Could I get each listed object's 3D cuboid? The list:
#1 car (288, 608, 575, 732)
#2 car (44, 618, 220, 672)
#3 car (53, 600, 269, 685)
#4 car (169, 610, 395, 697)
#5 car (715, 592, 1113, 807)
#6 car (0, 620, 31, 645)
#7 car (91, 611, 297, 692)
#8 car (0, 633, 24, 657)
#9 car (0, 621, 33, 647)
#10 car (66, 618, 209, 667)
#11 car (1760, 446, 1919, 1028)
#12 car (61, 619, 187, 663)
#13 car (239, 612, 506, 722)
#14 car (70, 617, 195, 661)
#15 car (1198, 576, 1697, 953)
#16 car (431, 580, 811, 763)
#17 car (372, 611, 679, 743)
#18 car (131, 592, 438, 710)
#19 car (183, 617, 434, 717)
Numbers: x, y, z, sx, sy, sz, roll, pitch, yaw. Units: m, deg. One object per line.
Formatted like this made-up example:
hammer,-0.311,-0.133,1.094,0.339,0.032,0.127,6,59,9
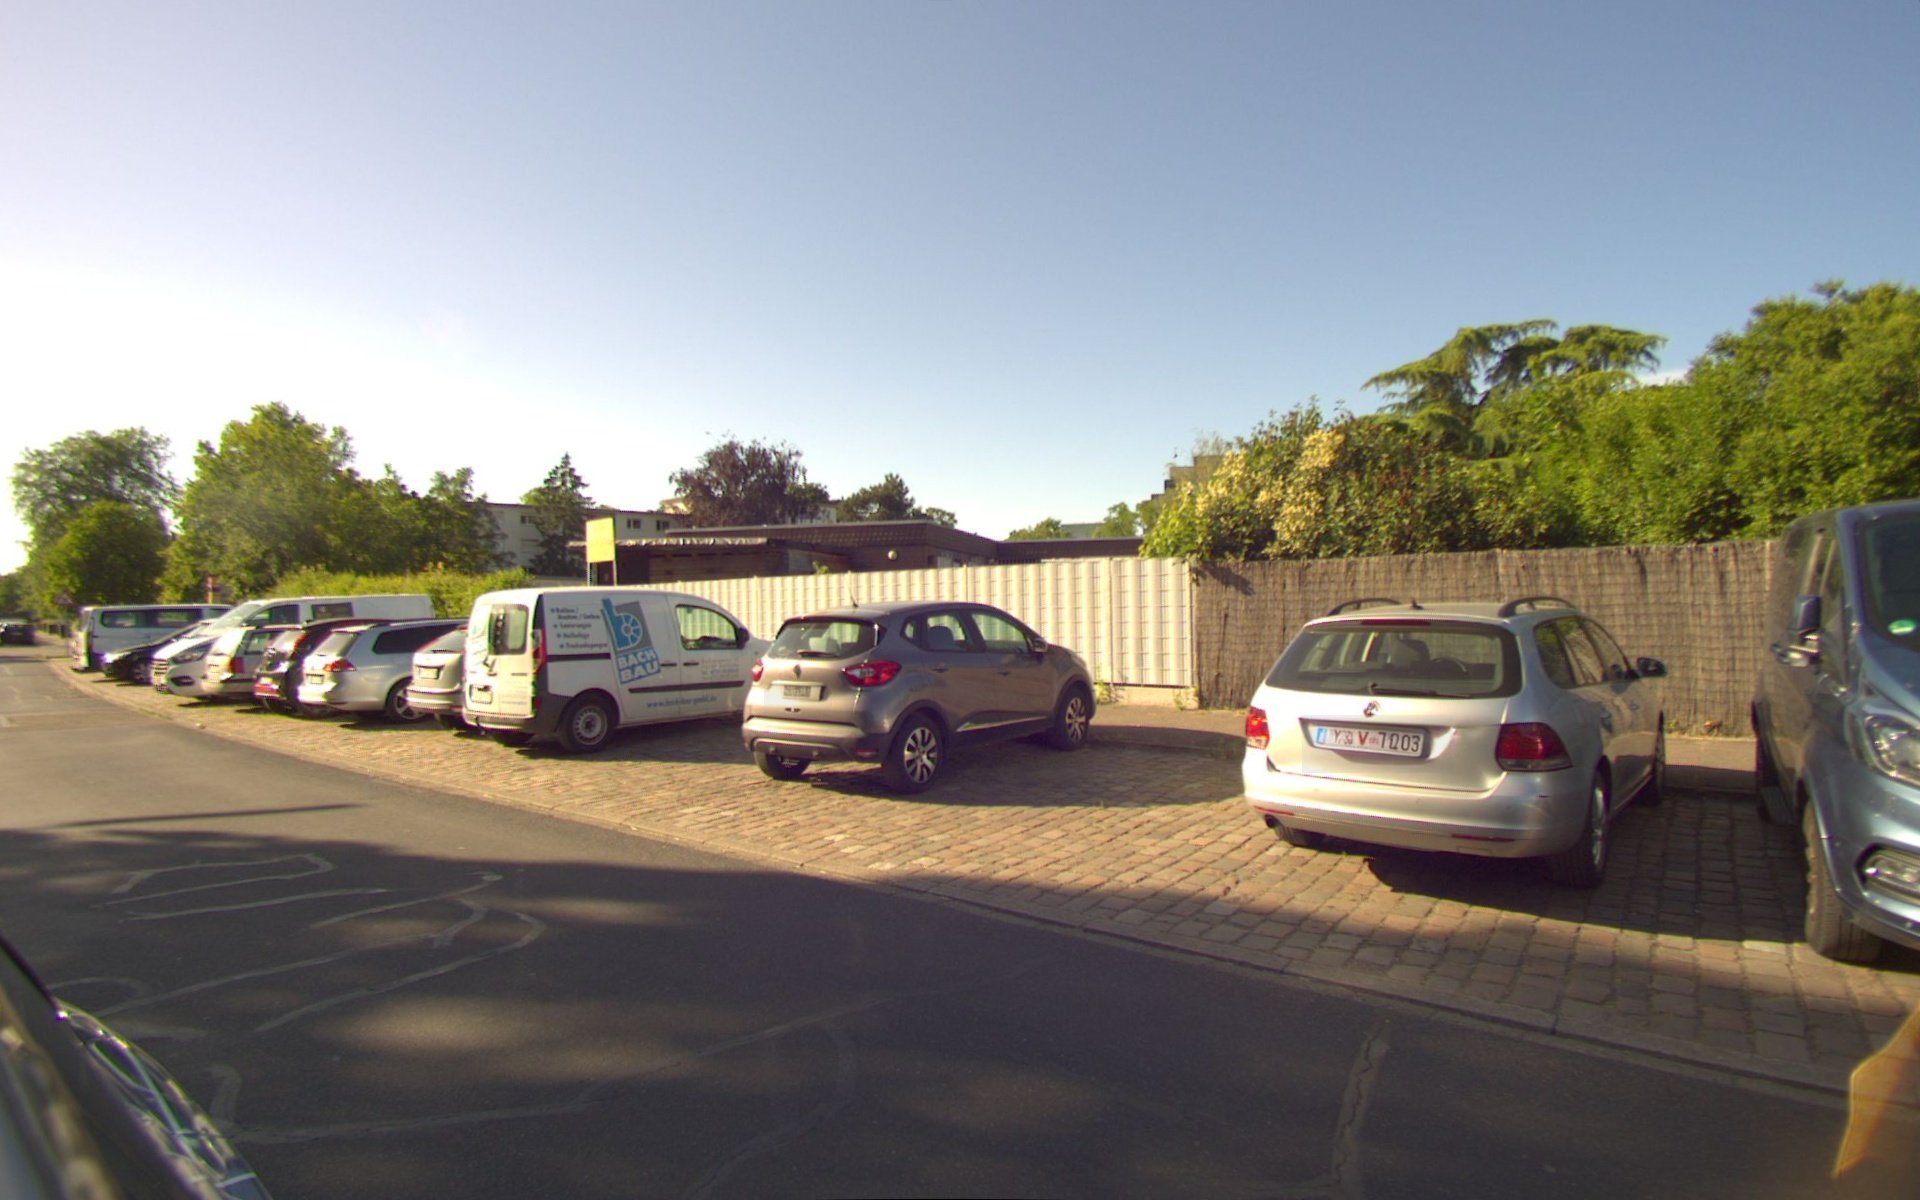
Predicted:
car,-7.941,0.975,15.391,1.637,1.500,3.475,-3,1,44
car,-28.177,1.491,34.538,4.492,1.490,1.749,-4,1,-44
car,-22.118,1.096,28.136,2.001,1.991,4.429,-1,2,44
car,-15.318,1.131,22.982,3.942,1.594,1.885,-4,2,-45
car,-0.237,0.735,9.536,1.785,1.544,3.780,-1,0,36
car,-78.402,2.712,83.978,1.882,1.956,4.515,3,-3,-43
car,-19.782,1.257,26.293,4.098,1.718,1.887,-3,2,-38
car,-69.289,3.273,73.554,1.792,1.695,3.651,3,-3,-44
car,-62.209,2.266,66.490,1.759,1.586,4.427,-2,0,-44
car,-30.551,1.555,37.644,3.941,1.490,1.792,-3,1,-44
car,5.212,0.408,4.830,1.996,1.930,4.827,-1,0,37
car,-35.790,1.723,43.376,1.832,1.544,3.943,-1,2,44
car,-9.735,1.052,16.950,1.635,1.500,3.479,-3,0,39
car,-37.450,1.729,45.876,1.847,1.668,4.141,-1,2,43
car,3.340,0.665,6.437,1.924,1.503,4.096,-1,1,40
car,-3.932,0.712,12.268,1.923,1.794,3.939,-2,0,38
car,-5.841,0.948,13.920,1.724,1.500,3.482,-2,0,36
car,-13.536,0.913,20.540,2.080,1.935,4.742,-2,1,39
car,-11.820,1.138,18.528,1.634,1.457,3.482,-1,2,37
